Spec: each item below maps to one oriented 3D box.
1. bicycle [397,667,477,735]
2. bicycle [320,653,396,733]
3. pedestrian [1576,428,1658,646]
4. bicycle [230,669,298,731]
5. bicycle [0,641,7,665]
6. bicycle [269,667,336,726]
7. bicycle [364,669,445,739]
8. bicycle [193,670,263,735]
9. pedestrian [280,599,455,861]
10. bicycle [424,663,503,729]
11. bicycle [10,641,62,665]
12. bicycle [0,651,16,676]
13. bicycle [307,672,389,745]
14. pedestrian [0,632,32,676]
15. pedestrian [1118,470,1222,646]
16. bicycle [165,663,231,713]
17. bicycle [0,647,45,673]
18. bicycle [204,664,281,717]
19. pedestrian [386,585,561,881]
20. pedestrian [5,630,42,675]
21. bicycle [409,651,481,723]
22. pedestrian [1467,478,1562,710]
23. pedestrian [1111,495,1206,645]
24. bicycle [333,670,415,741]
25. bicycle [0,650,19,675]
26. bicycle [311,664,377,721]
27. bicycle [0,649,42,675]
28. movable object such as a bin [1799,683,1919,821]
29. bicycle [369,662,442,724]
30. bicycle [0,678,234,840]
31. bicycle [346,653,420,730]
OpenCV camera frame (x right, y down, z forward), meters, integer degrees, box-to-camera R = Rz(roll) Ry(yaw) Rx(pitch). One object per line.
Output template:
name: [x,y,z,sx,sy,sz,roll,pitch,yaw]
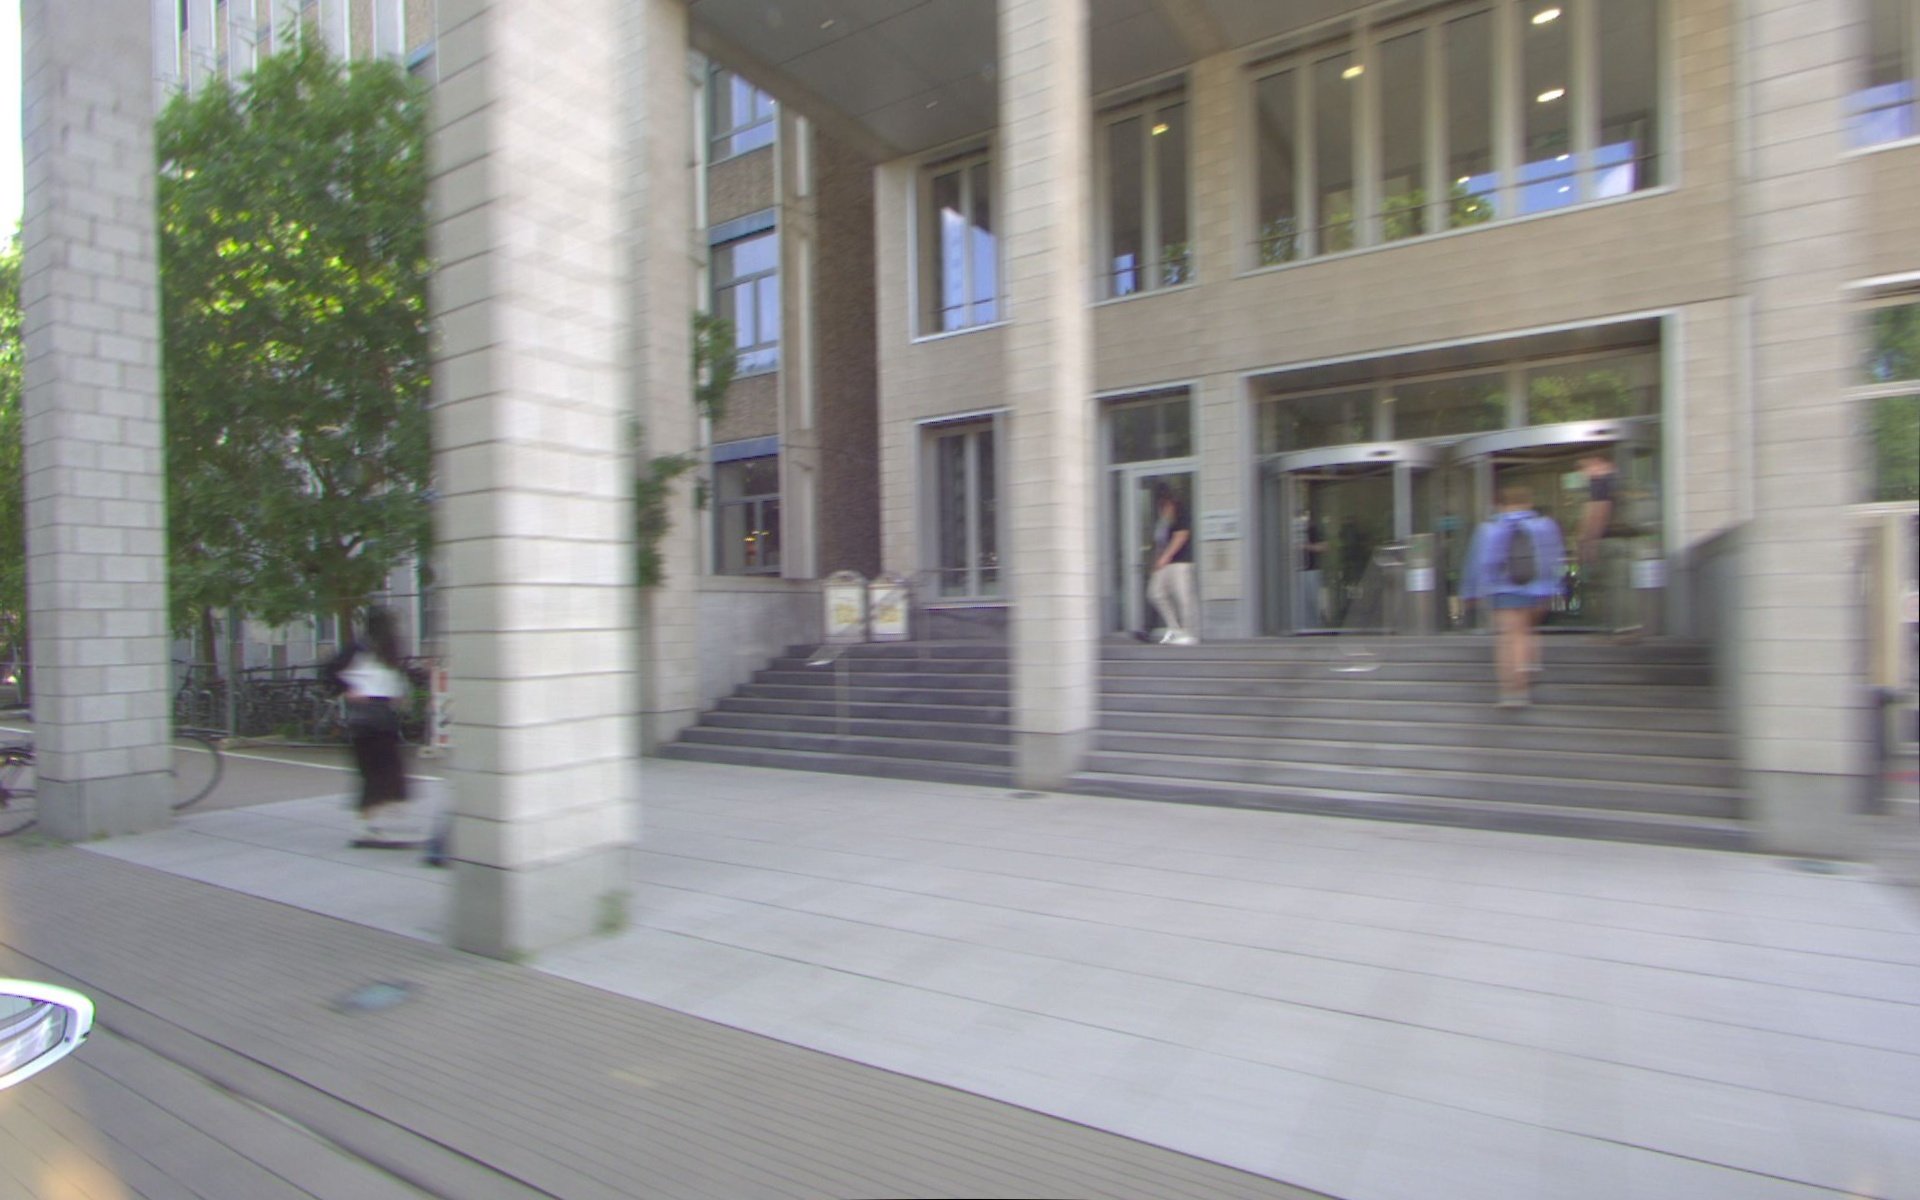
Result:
bicycle: [-7.565,1.442,14.462,1.426,0.917,0.290,-1,0,29]
bicycle: [-9.005,1.370,14.970,1.426,1.143,0.290,-1,0,29]
pedestrian: [5.777,-0.522,8.827,0.581,1.827,0.681,0,0,32]
bicycle: [-11.000,1.564,15.815,1.426,0.917,0.290,-1,0,29]
bicycle: [-45.969,2.477,46.929,0.516,1.124,1.807,-1,-2,31]
bicycle: [-10.759,1.564,16.372,1.426,0.917,0.290,-1,0,29]
bicycle: [-7.821,1.451,14.080,1.426,0.917,0.290,-1,0,29]
bicycle: [-11.205,1.551,15.312,1.426,0.917,0.290,-1,0,29]
pedestrian: [-3.952,0.826,6.748,0.727,1.638,0.807,-1,0,-8]
bicycle: [-7.357,1.410,14.812,1.426,0.917,0.290,-1,0,29]
bicycle: [-44.927,2.571,48.685,0.466,1.124,1.806,-1,-2,27]
bicycle: [-44.372,2.911,45.680,0.516,1.124,1.808,-1,-2,30]
bicycle: [-8.305,1.452,13.575,1.426,0.917,0.290,-1,0,29]
pedestrian: [-38.870,2.203,41.146,0.674,1.750,0.901,-3,-2,28]
pedestrian: [2.274,-0.430,10.878,0.867,1.827,0.701,0,0,-19]
bicycle: [-14.764,1.684,19.384,1.592,0.917,0.290,-1,0,24]
bicycle: [-41.417,2.615,44.024,0.468,1.124,1.689,-1,-2,36]
bicycle: [-13.035,1.628,18.179,1.775,0.917,0.290,-1,0,24]
pedestrian: [-2.981,0.768,6.223,0.884,1.692,0.673,-1,0,-21]
pedestrian: [-38.236,2.138,40.871,0.674,1.750,0.901,-3,-2,28]
bicycle: [-8.326,1.393,16.176,1.426,1.113,0.290,-1,0,29]
pedestrian: [4.462,-0.040,8.074,0.634,1.747,0.862,0,0,29]
pedestrian: [2.311,-0.335,11.709,0.867,1.677,0.701,0,0,-16]
bicycle: [-8.119,1.445,13.856,1.426,0.917,0.290,-1,0,29]
bicycle: [-43.748,2.844,45.202,0.517,1.124,1.804,-1,-2,36]
bicycle: [-10.439,1.557,16.966,1.426,0.917,0.290,-1,0,29]
bicycle: [-42.276,2.763,44.731,0.517,1.124,1.804,-1,-2,36]
movable object such as a bin: [6.584,1.097,7.337,0.541,0.950,0.373,-1,0,13]
bicycle: [-8.663,1.438,15.630,1.426,0.899,0.290,-1,0,29]
bicycle: [-6.843,1.213,7.940,0.442,1.053,1.737,1,1,27]
bicycle: [-8.841,1.383,15.329,1.426,1.108,0.290,-1,0,29]
